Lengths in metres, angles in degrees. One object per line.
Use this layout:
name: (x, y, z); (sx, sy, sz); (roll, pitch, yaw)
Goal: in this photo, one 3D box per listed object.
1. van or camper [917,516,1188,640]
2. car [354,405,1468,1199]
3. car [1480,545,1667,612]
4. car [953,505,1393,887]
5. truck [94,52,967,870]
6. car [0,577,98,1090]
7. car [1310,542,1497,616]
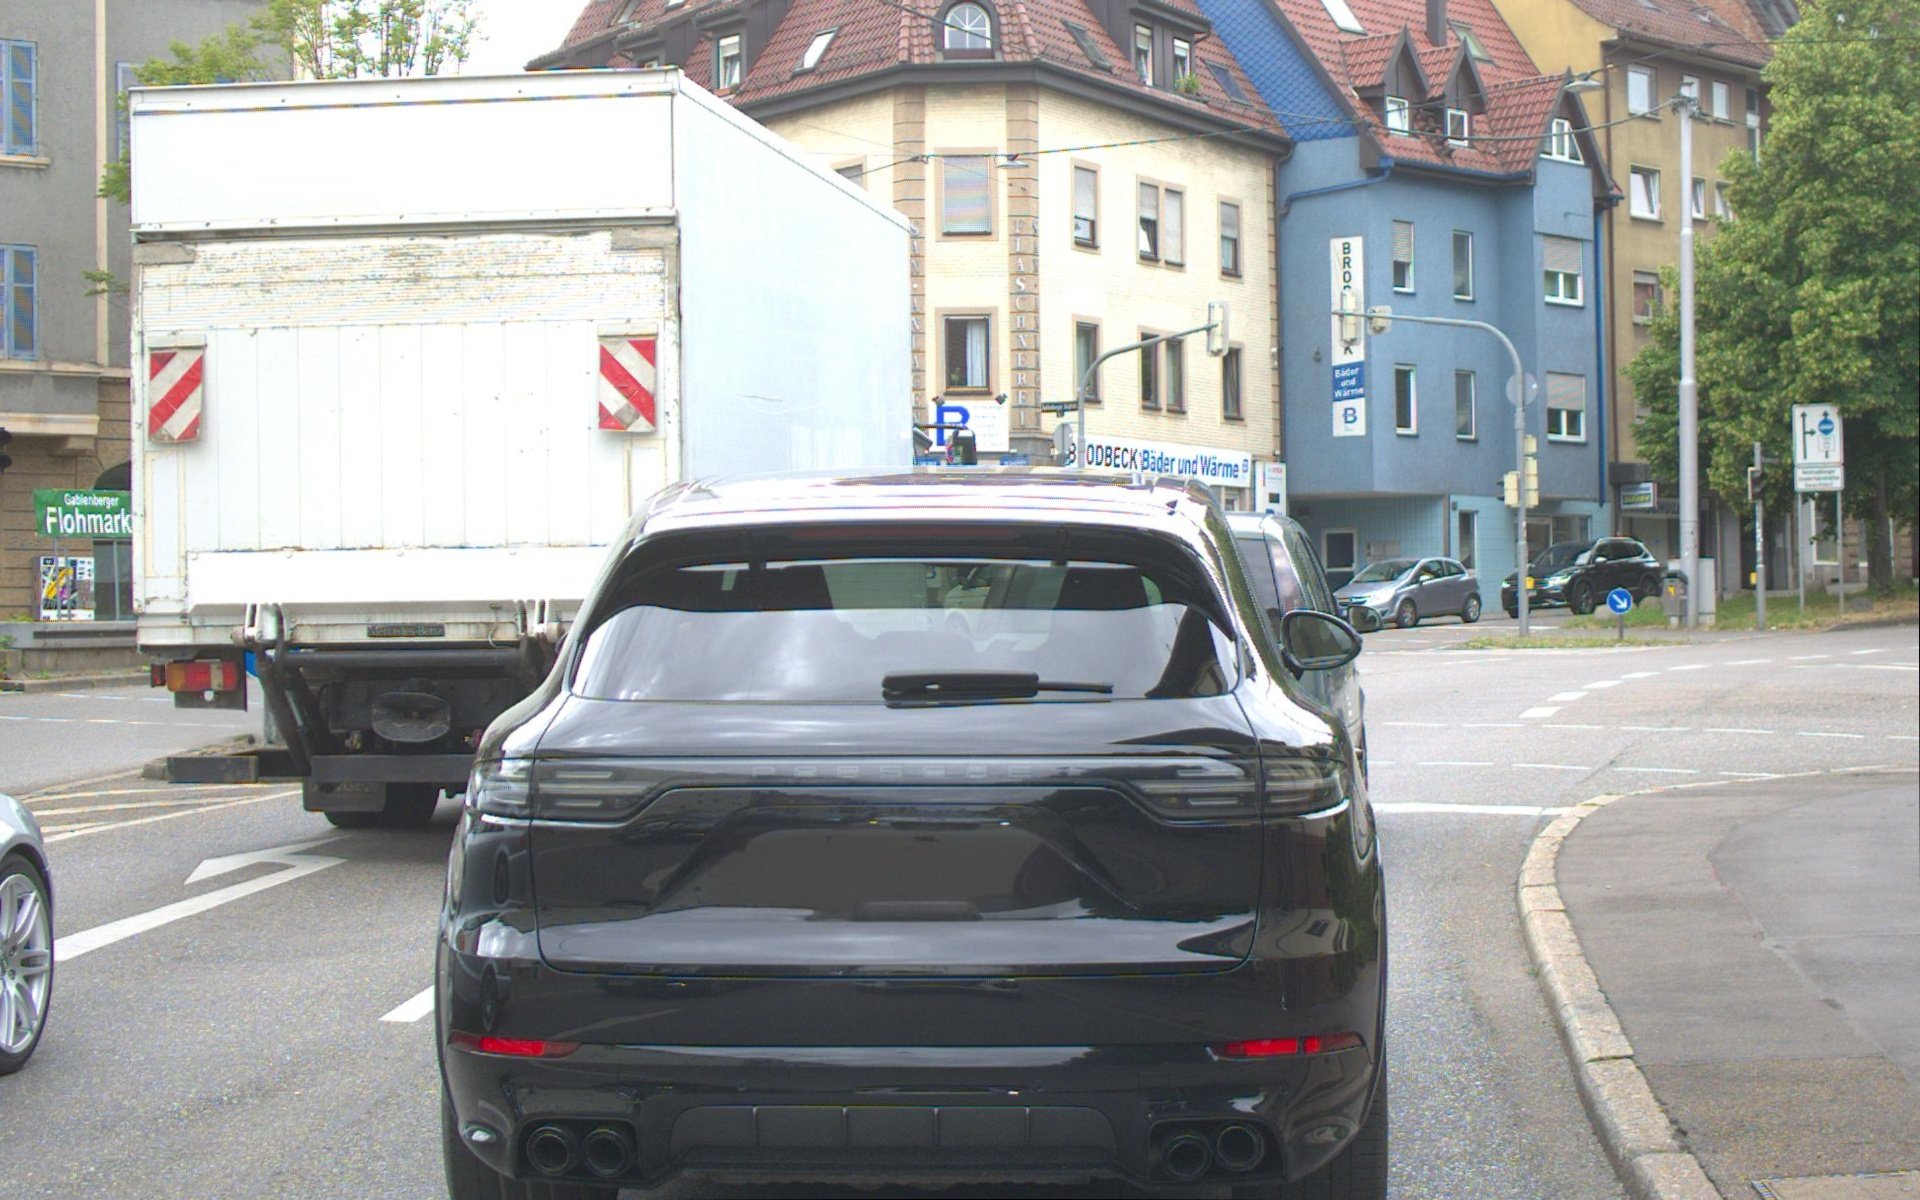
van or camper: (1.516, -0.395, 58.184); (1.994, 2.007, 4.830); (0, 1, -37)
car: (-0.118, 0.453, 8.572); (2.031, 1.717, 4.500); (1, 2, -1)
car: (13.658, -0.459, 76.396); (1.874, 1.411, 4.687); (-1, -1, 42)
car: (1.094, 0.376, 15.993); (1.649, 1.550, 3.581); (1, 1, 10)
truck: (-1.895, -0.695, 19.189); (2.726, 3.532, 8.419); (1, 1, 8)
car: (-3.488, 0.669, 7.978); (1.629, 1.360, 4.128); (-1, 1, 5)
car: (9.195, -0.439, 71.101); (1.721, 1.471, 4.208); (-1, 0, 42)
